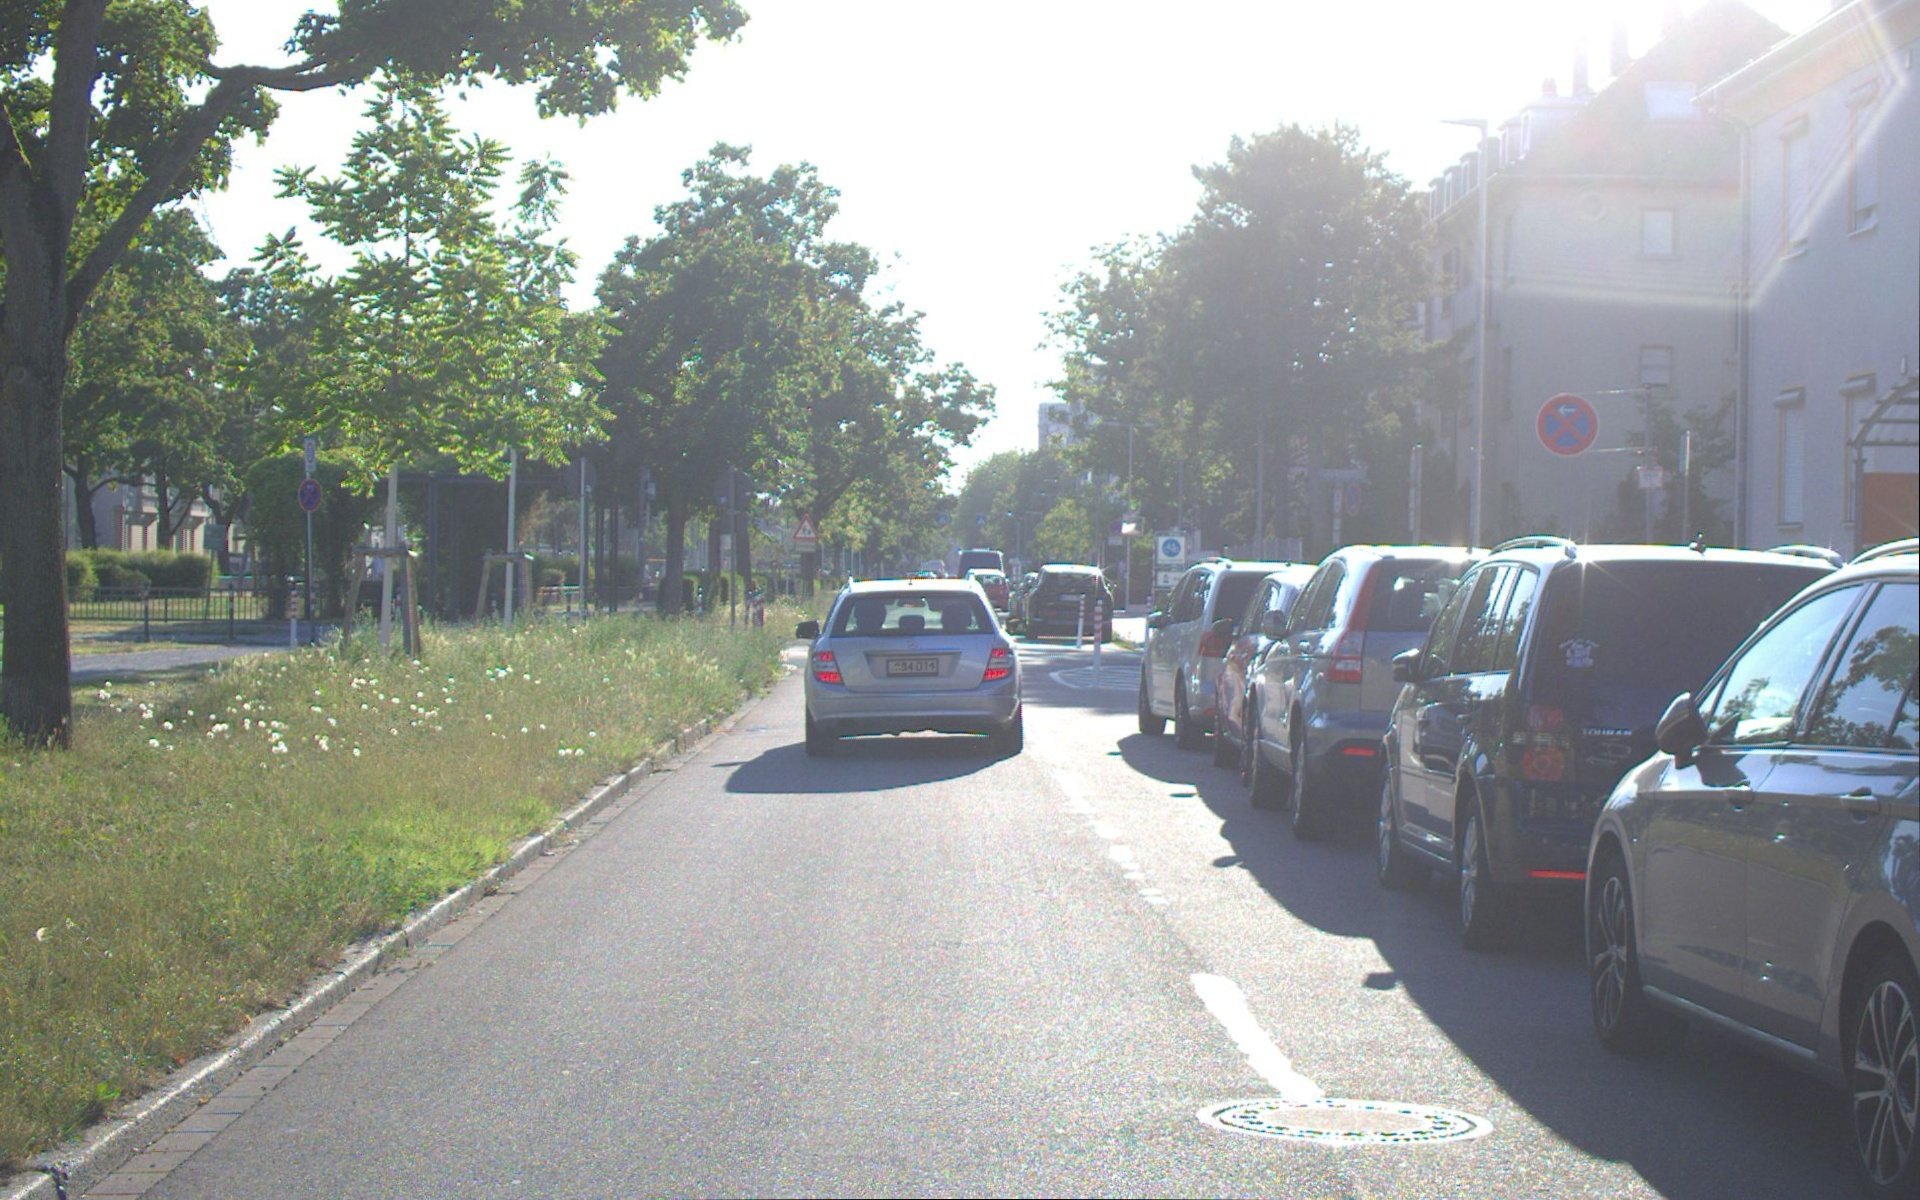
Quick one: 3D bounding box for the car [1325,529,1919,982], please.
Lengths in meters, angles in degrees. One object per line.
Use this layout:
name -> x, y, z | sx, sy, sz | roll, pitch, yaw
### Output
car -> 2.809, 0.584, 15.178 | 1.766, 1.629, 4.764 | 2, 0, -1

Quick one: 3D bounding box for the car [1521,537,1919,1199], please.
car -> 2.888, 0.640, 9.371 | 1.724, 1.556, 4.417 | 1, 1, -3

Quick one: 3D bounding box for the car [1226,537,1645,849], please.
car -> 2.707, 0.488, 20.615 | 1.777, 1.637, 4.757 | 1, 0, -1

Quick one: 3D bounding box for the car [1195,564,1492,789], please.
car -> 2.770, 0.509, 25.553 | 1.729, 1.521, 3.735 | -1, 1, -1

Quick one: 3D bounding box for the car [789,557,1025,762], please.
car -> -0.407, 0.439, 28.724 | 1.823, 1.561, 4.000 | 0, 1, 0

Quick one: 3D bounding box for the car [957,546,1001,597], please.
car -> 0.831, -1.253, 150.980 | 1.861, 2.186, 5.070 | 1, 0, 0

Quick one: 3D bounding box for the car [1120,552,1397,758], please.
car -> 2.588, 0.436, 30.809 | 1.716, 1.633, 4.565 | 3, 0, -4

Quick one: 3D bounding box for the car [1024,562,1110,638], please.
car -> 2.296, 0.016, 74.636 | 1.721, 1.591, 4.000 | 0, 0, 0

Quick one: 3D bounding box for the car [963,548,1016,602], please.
car -> 1.144, -0.960, 132.924 | 1.988, 2.016, 4.000 | 1, 0, 0
